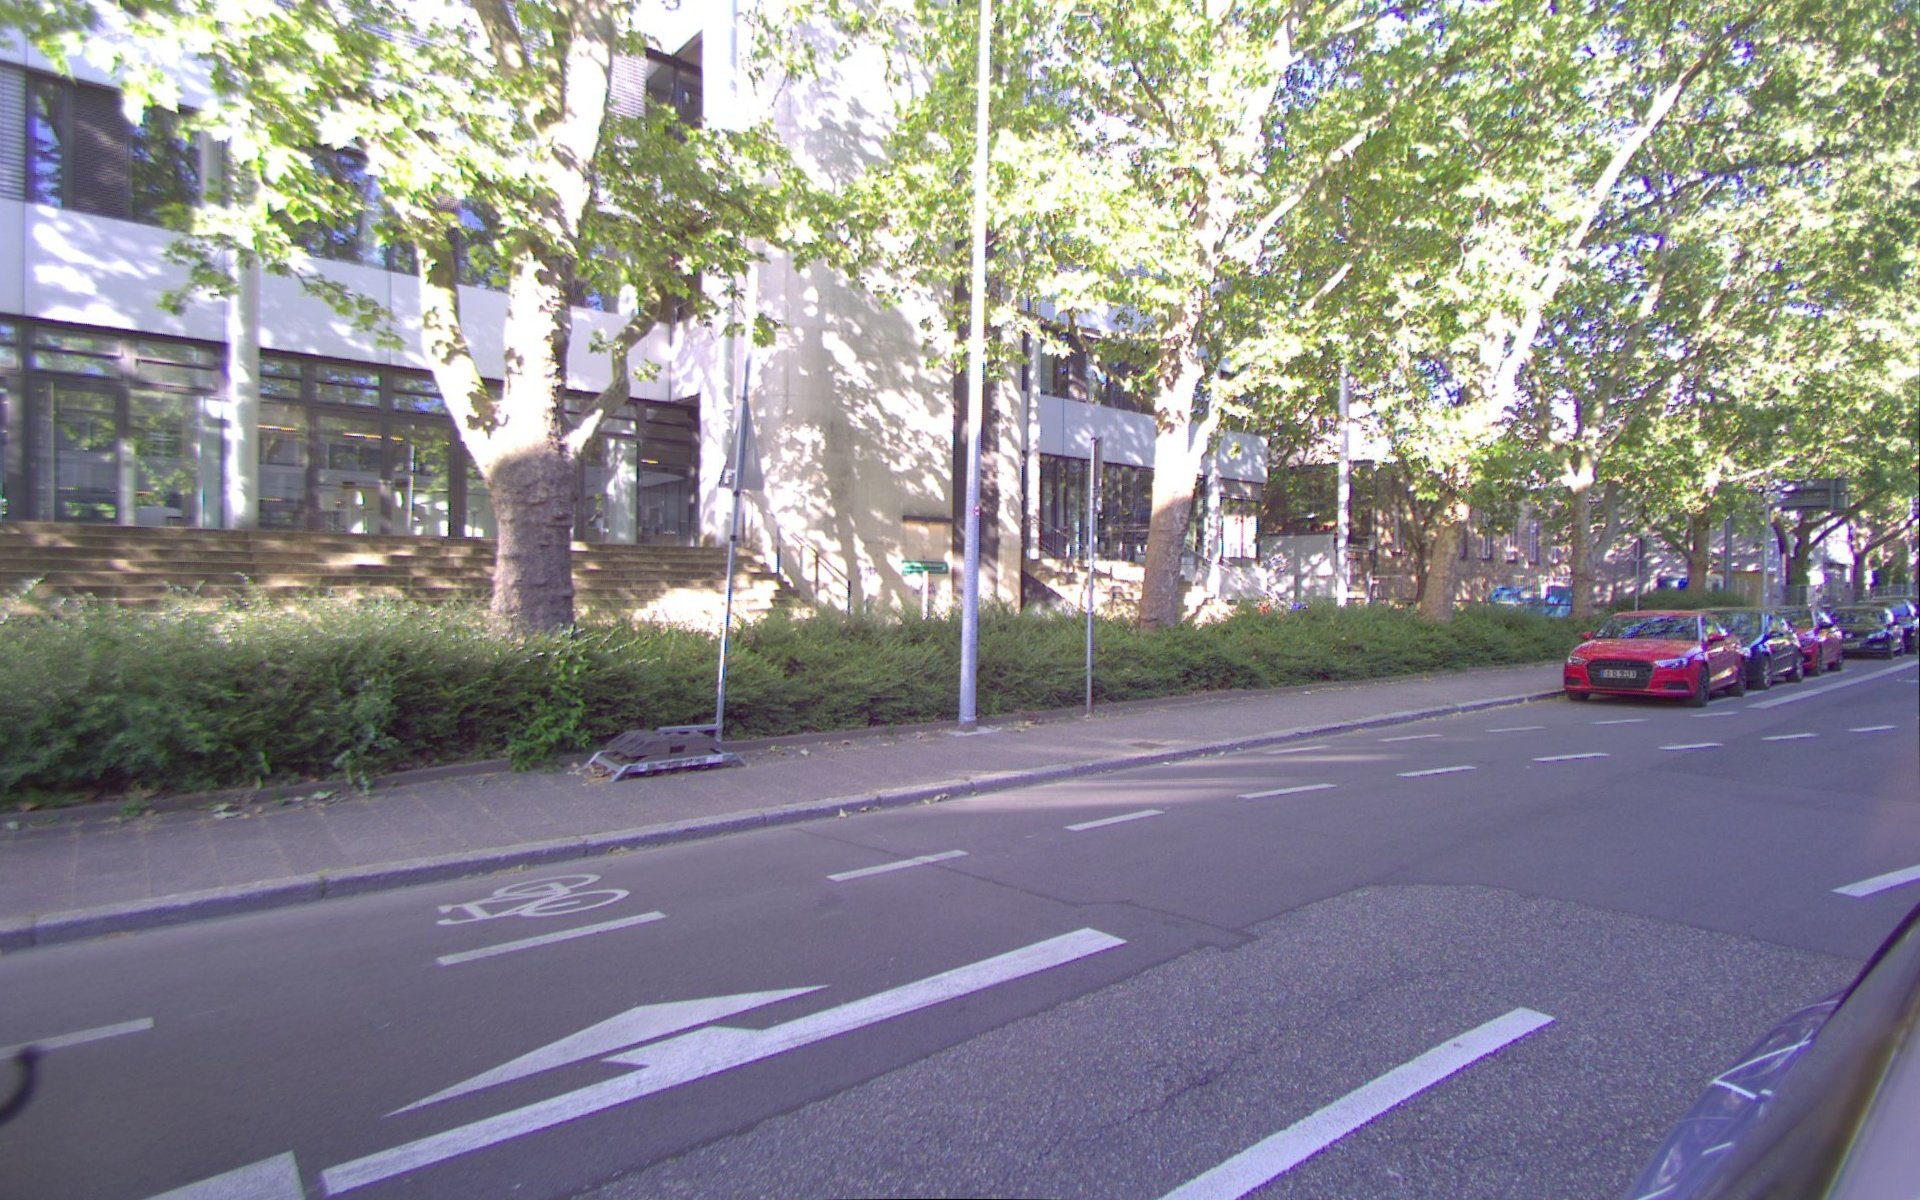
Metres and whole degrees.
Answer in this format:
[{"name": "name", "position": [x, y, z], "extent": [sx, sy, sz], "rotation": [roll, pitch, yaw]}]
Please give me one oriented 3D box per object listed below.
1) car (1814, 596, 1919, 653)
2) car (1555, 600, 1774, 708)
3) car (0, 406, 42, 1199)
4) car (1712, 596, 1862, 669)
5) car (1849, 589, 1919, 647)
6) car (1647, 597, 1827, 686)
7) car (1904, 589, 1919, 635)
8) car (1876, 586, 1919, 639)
[{"name": "car", "position": [25.789, 0.626, 28.614], "extent": [4.403, 1.469, 1.865], "rotation": [0, 0, -41]}, {"name": "car", "position": [11.318, 0.742, 16.142], "extent": [4.403, 1.469, 1.865], "rotation": [0, 0, -41]}, {"name": "car", "position": [-3.783, 0.542, 0.837], "extent": [4.403, 1.786, 1.865], "rotation": [0, 0, -41]}, {"name": "car", "position": [18.433, 0.641, 22.480], "extent": [4.403, 1.469, 1.865], "rotation": [0, 0, -41]}, {"name": "car", "position": [29.568, 0.519, 31.809], "extent": [4.403, 1.689, 1.865], "rotation": [0, 0, -41]}, {"name": "car", "position": [14.765, 0.696, 19.143], "extent": [4.403, 1.469, 1.865], "rotation": [0, 0, -41]}, {"name": "car", "position": [38.872, 0.450, 39.970], "extent": [4.403, 1.781, 1.865], "rotation": [0, 0, -41]}, {"name": "car", "position": [33.906, 0.401, 35.700], "extent": [4.403, 1.781, 1.865], "rotation": [0, 0, -41]}]
